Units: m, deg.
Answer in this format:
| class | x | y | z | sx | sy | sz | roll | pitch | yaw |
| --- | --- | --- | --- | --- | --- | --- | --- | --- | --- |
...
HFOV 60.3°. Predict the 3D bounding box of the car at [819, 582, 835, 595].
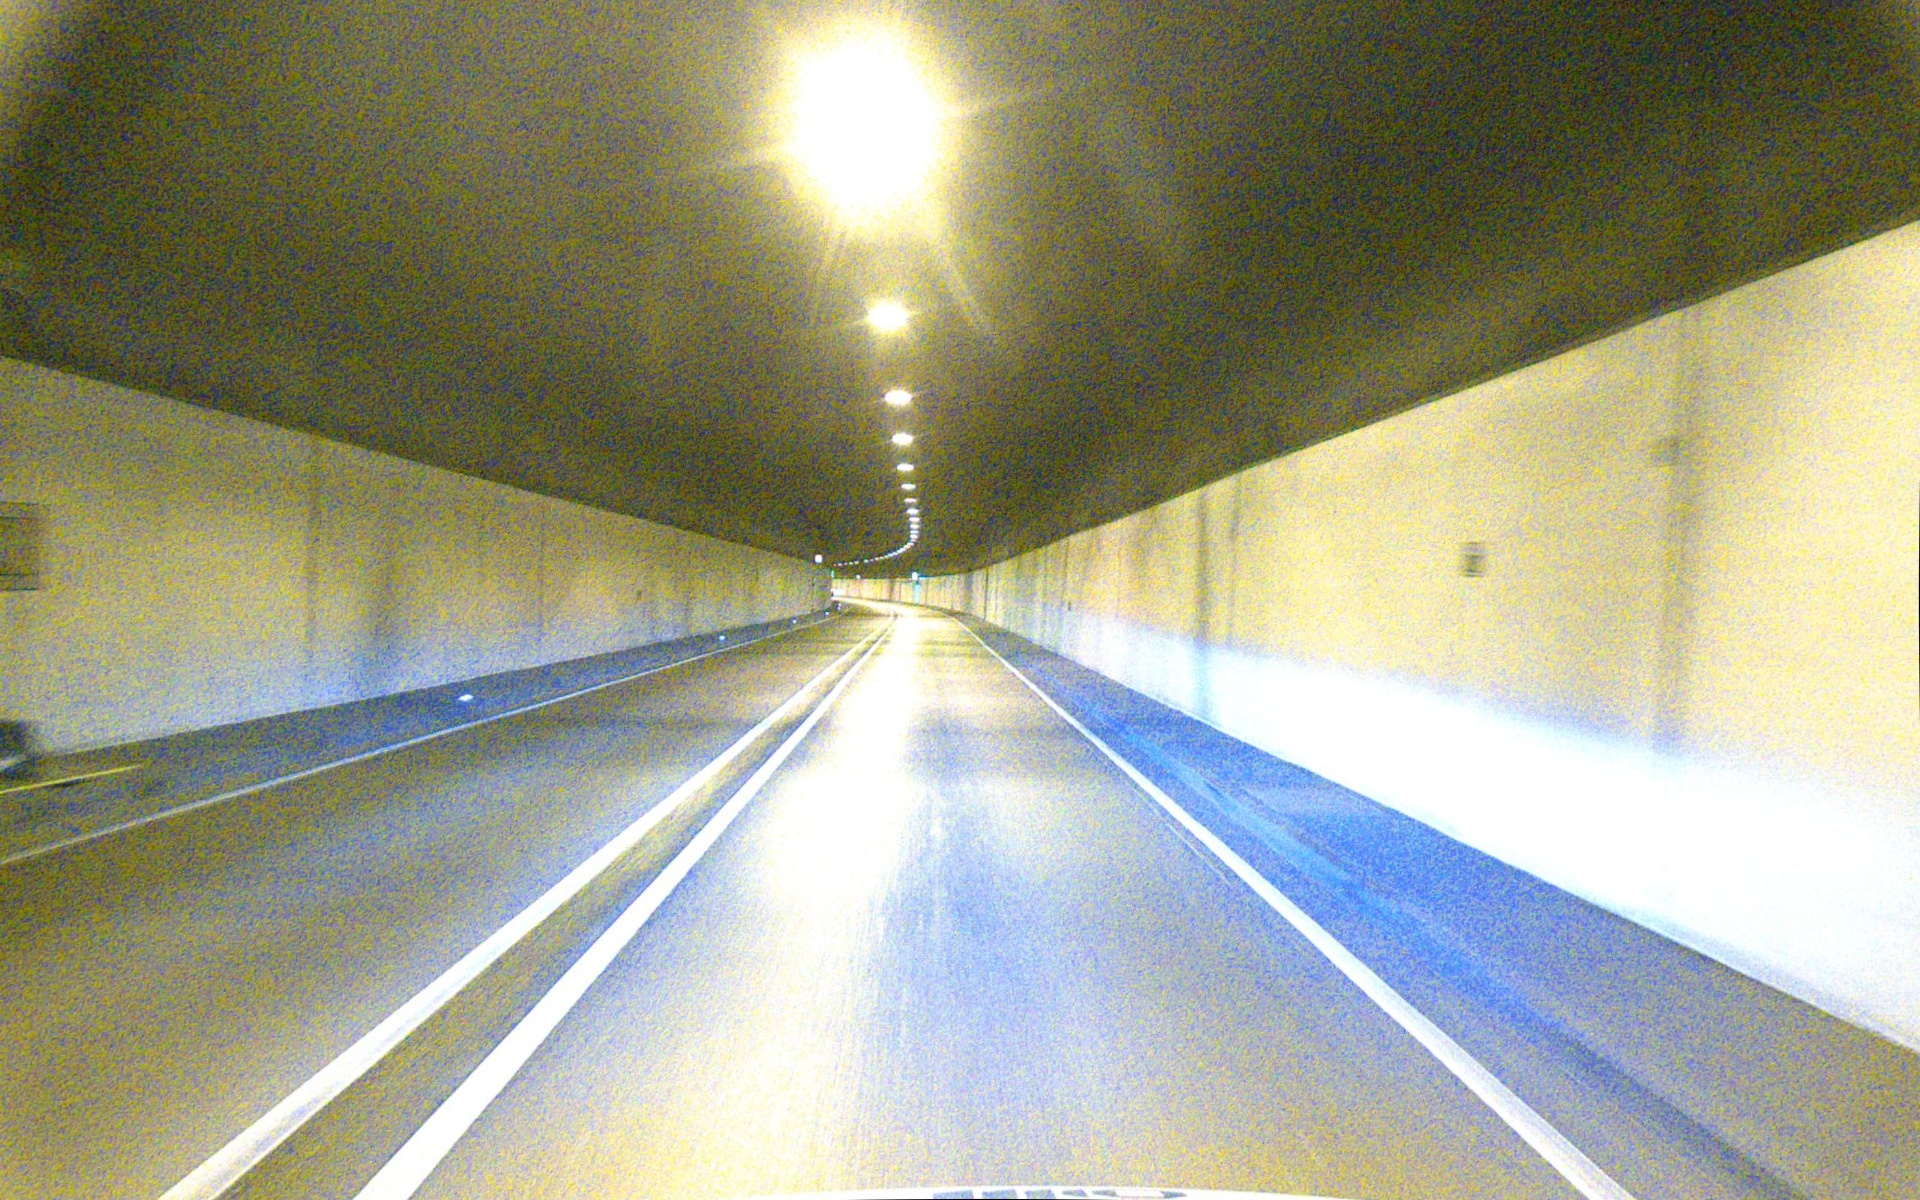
| class | x | y | z | sx | sy | sz | roll | pitch | yaw |
| --- | --- | --- | --- | --- | --- | --- | --- | --- | --- |
| car | -20.677 | -1.829 | 257.114 | 1.932 | 1.973 | 4.599 | 1 | 0 | -12 |
